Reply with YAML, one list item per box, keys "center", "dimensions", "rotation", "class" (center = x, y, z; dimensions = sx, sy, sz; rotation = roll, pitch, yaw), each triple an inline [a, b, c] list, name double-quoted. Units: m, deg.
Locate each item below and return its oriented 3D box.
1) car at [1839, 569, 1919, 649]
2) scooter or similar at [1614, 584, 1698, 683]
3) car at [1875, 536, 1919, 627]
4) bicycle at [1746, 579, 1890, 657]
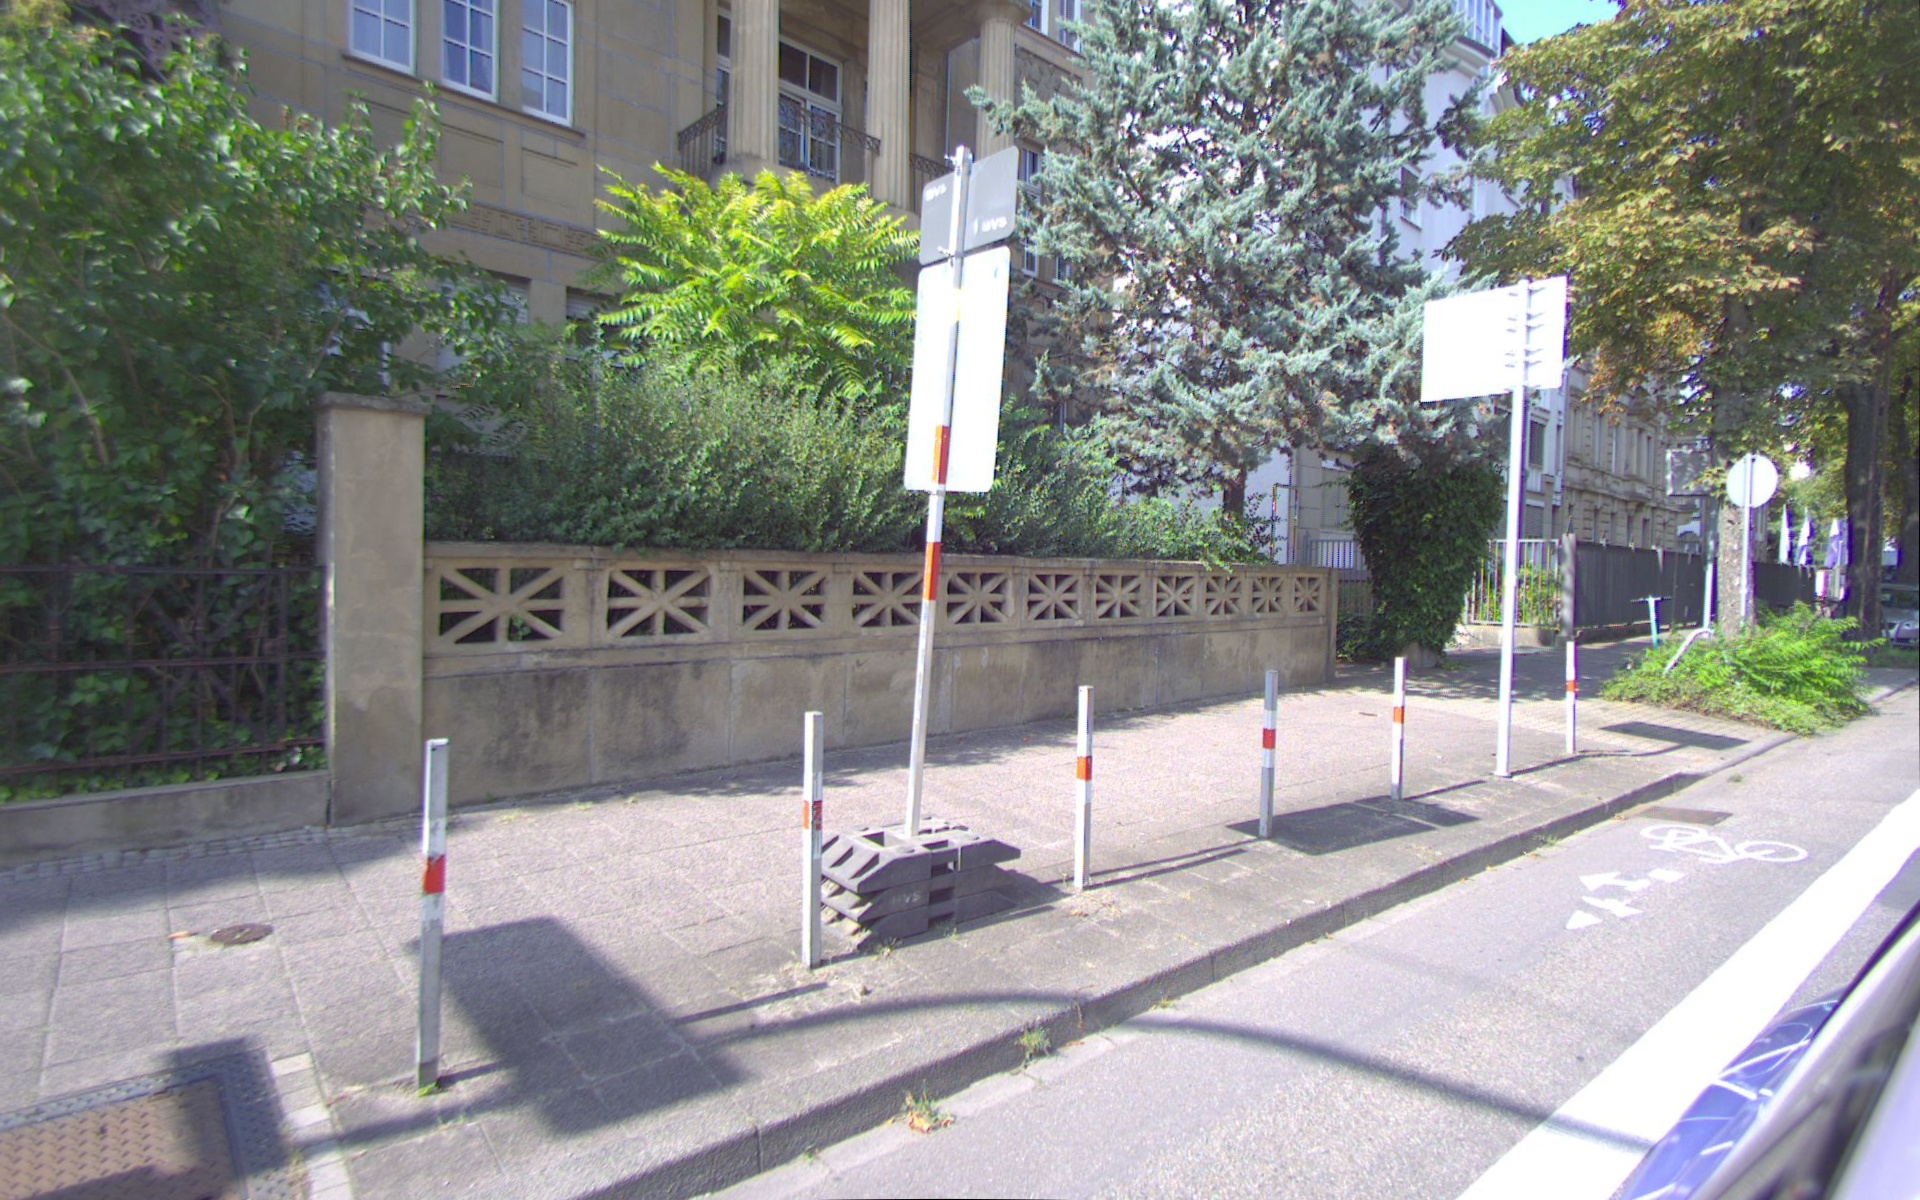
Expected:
- center: [20.912, 0.154, 22.482]
  dimensions: [4.285, 1.541, 1.609]
  rotation: [-1, 6, -44]
  class: "car"
- center: [9.294, 0.423, 13.503]
  dimensions: [1.015, 1.211, 0.560]
  rotation: [-1, 6, -38]
  class: "scooter or similar"
- center: [29.265, -0.543, 30.446]
  dimensions: [6.125, 2.529, 2.048]
  rotation: [-1, 4, -44]
  class: "car"
- center: [15.009, 0.304, 17.734]
  dimensions: [1.811, 1.178, 0.504]
  rotation: [3, 8, 7]
  class: "bicycle"
